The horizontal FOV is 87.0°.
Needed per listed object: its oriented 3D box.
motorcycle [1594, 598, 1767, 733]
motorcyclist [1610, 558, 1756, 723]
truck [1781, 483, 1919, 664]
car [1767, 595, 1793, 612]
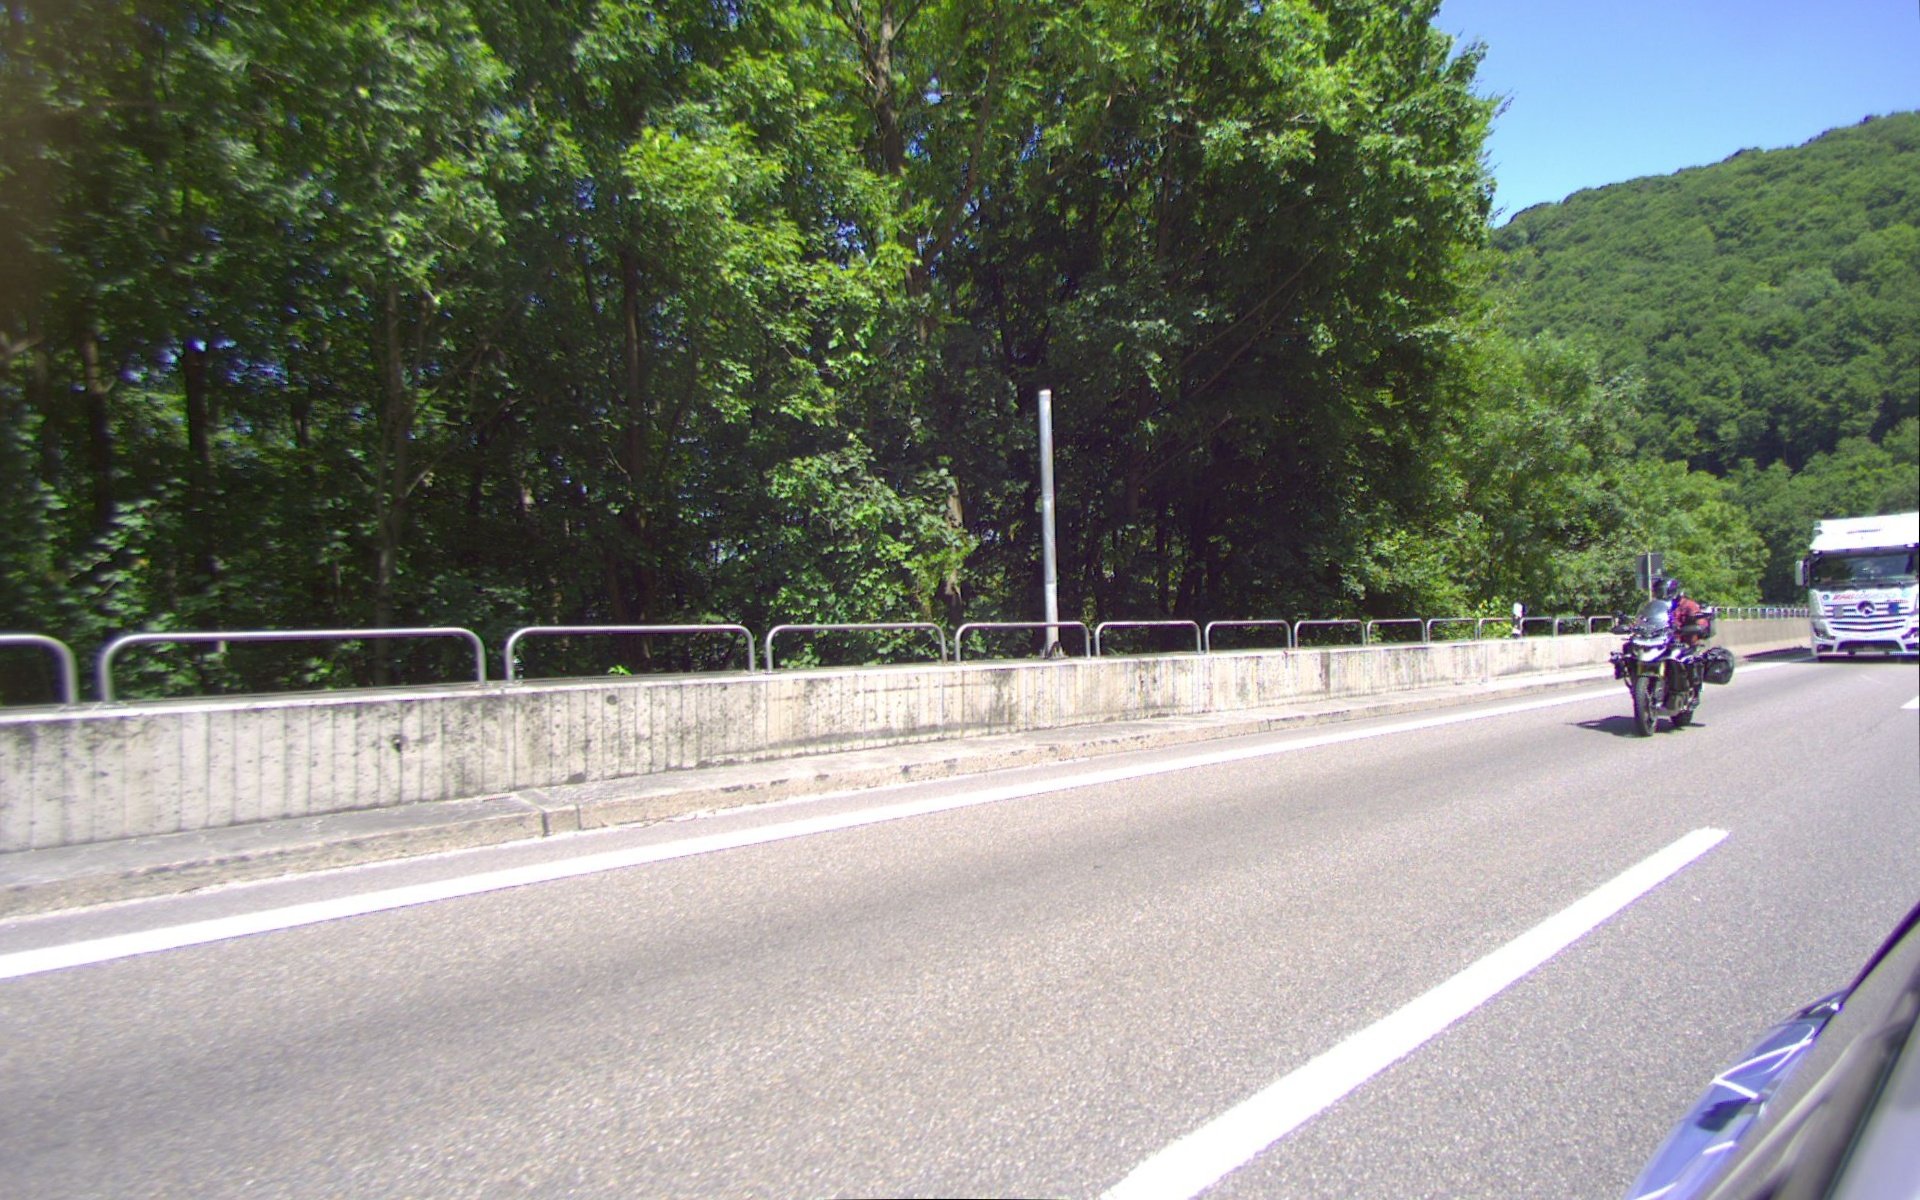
[{"bbox_3d":[8.594,0.703,12.021,2.632,1.438,0.975,0,-1,-39],"label":"motorcycle"},{"bbox_3d":[8.578,0.445,12.011,1.314,1.823,1.063,0,-1,-38],"label":"motorcyclist"},{"bbox_3d":[27.669,-0.607,30.033,16.430,4.186,2.962,0,-3,-44],"label":"truck"},{"bbox_3d":[105.438,0.456,130.162,1.984,2.039,3.956,-1,-1,31],"label":"car"}]
